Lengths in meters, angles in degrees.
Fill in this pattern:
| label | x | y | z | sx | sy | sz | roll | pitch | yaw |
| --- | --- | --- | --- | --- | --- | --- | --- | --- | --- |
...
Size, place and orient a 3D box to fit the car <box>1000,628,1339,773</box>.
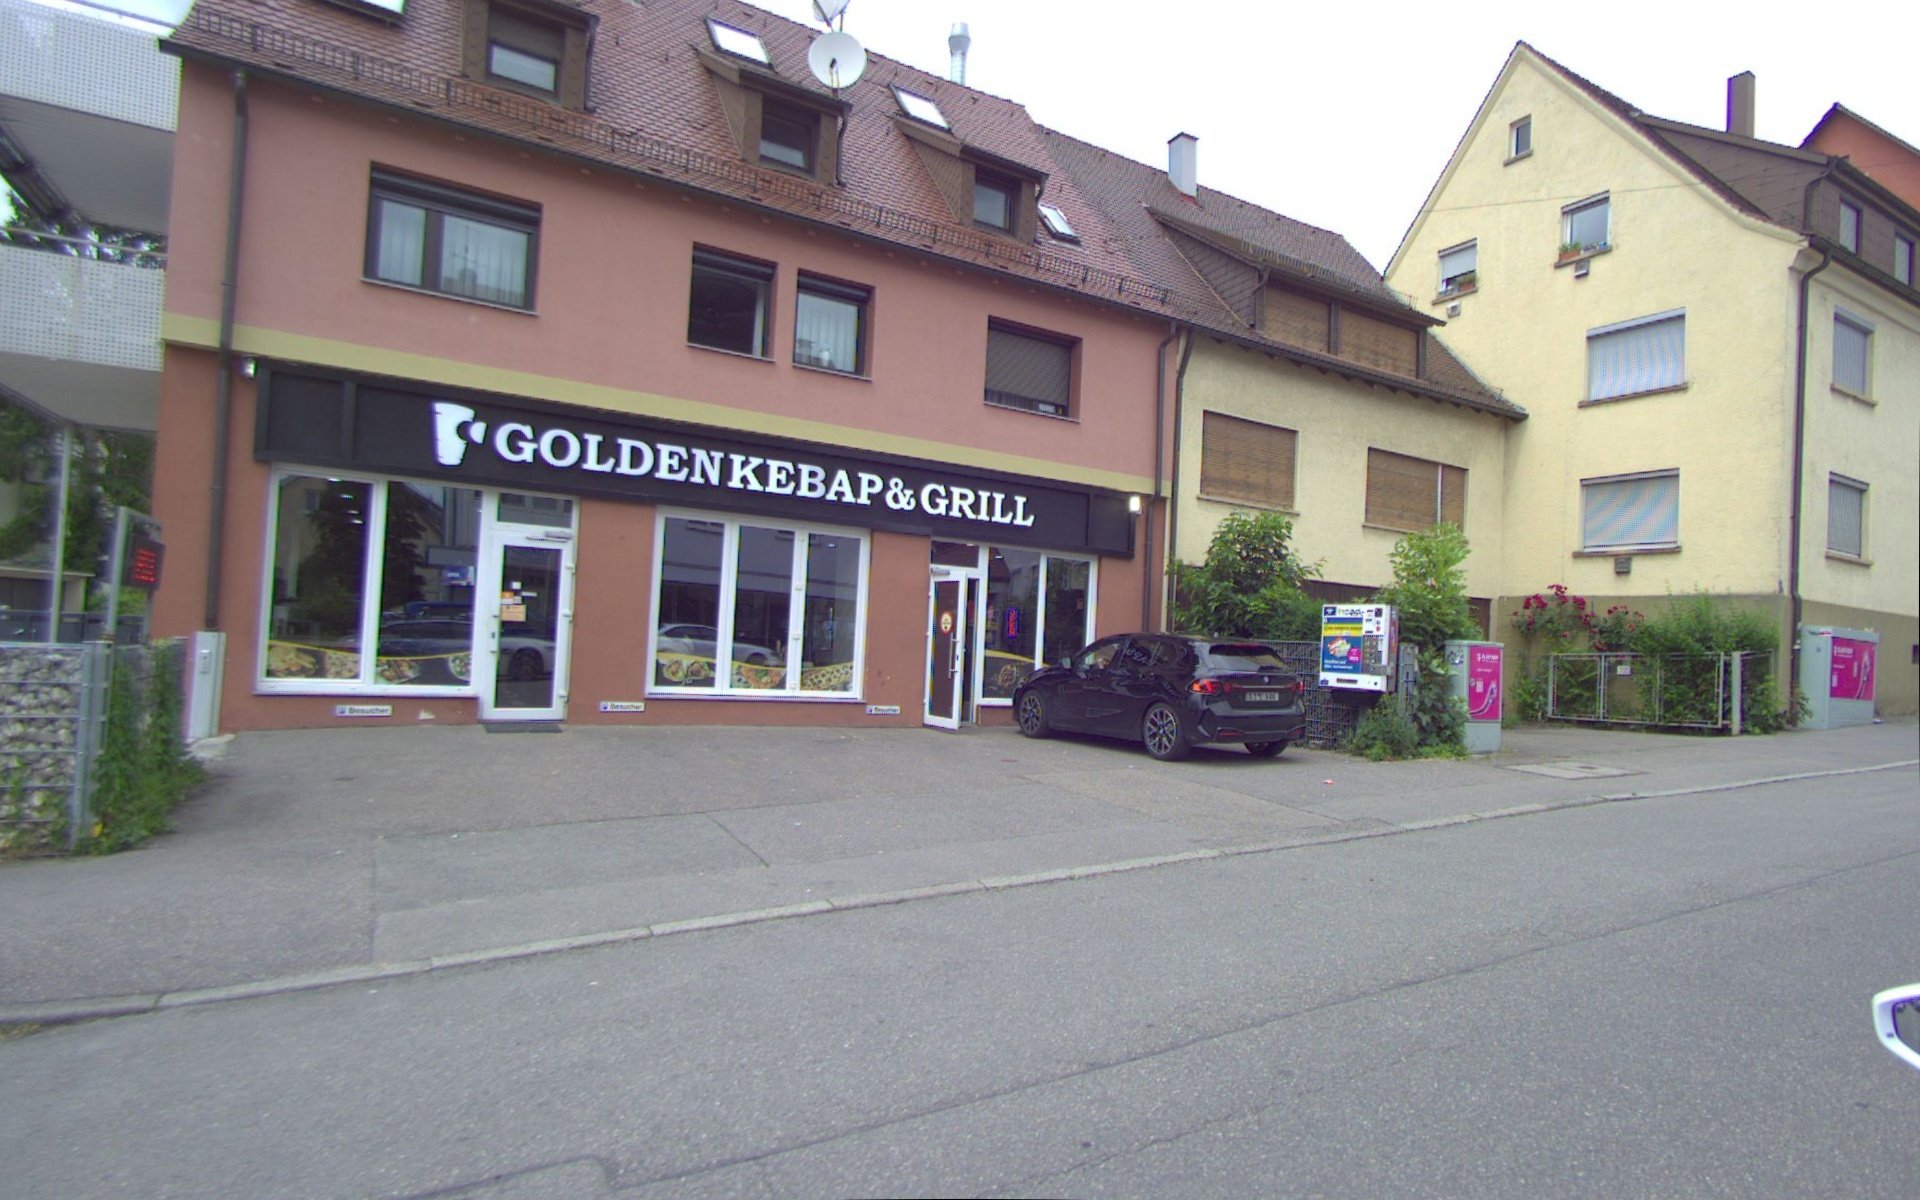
| label | x | y | z | sx | sy | sz | roll | pitch | yaw |
| --- | --- | --- | --- | --- | --- | --- | --- | --- | --- |
| car | 2.425 | 1.167 | 12.740 | 1.976 | 1.491 | 4.213 | 3 | -4 | -28 |
